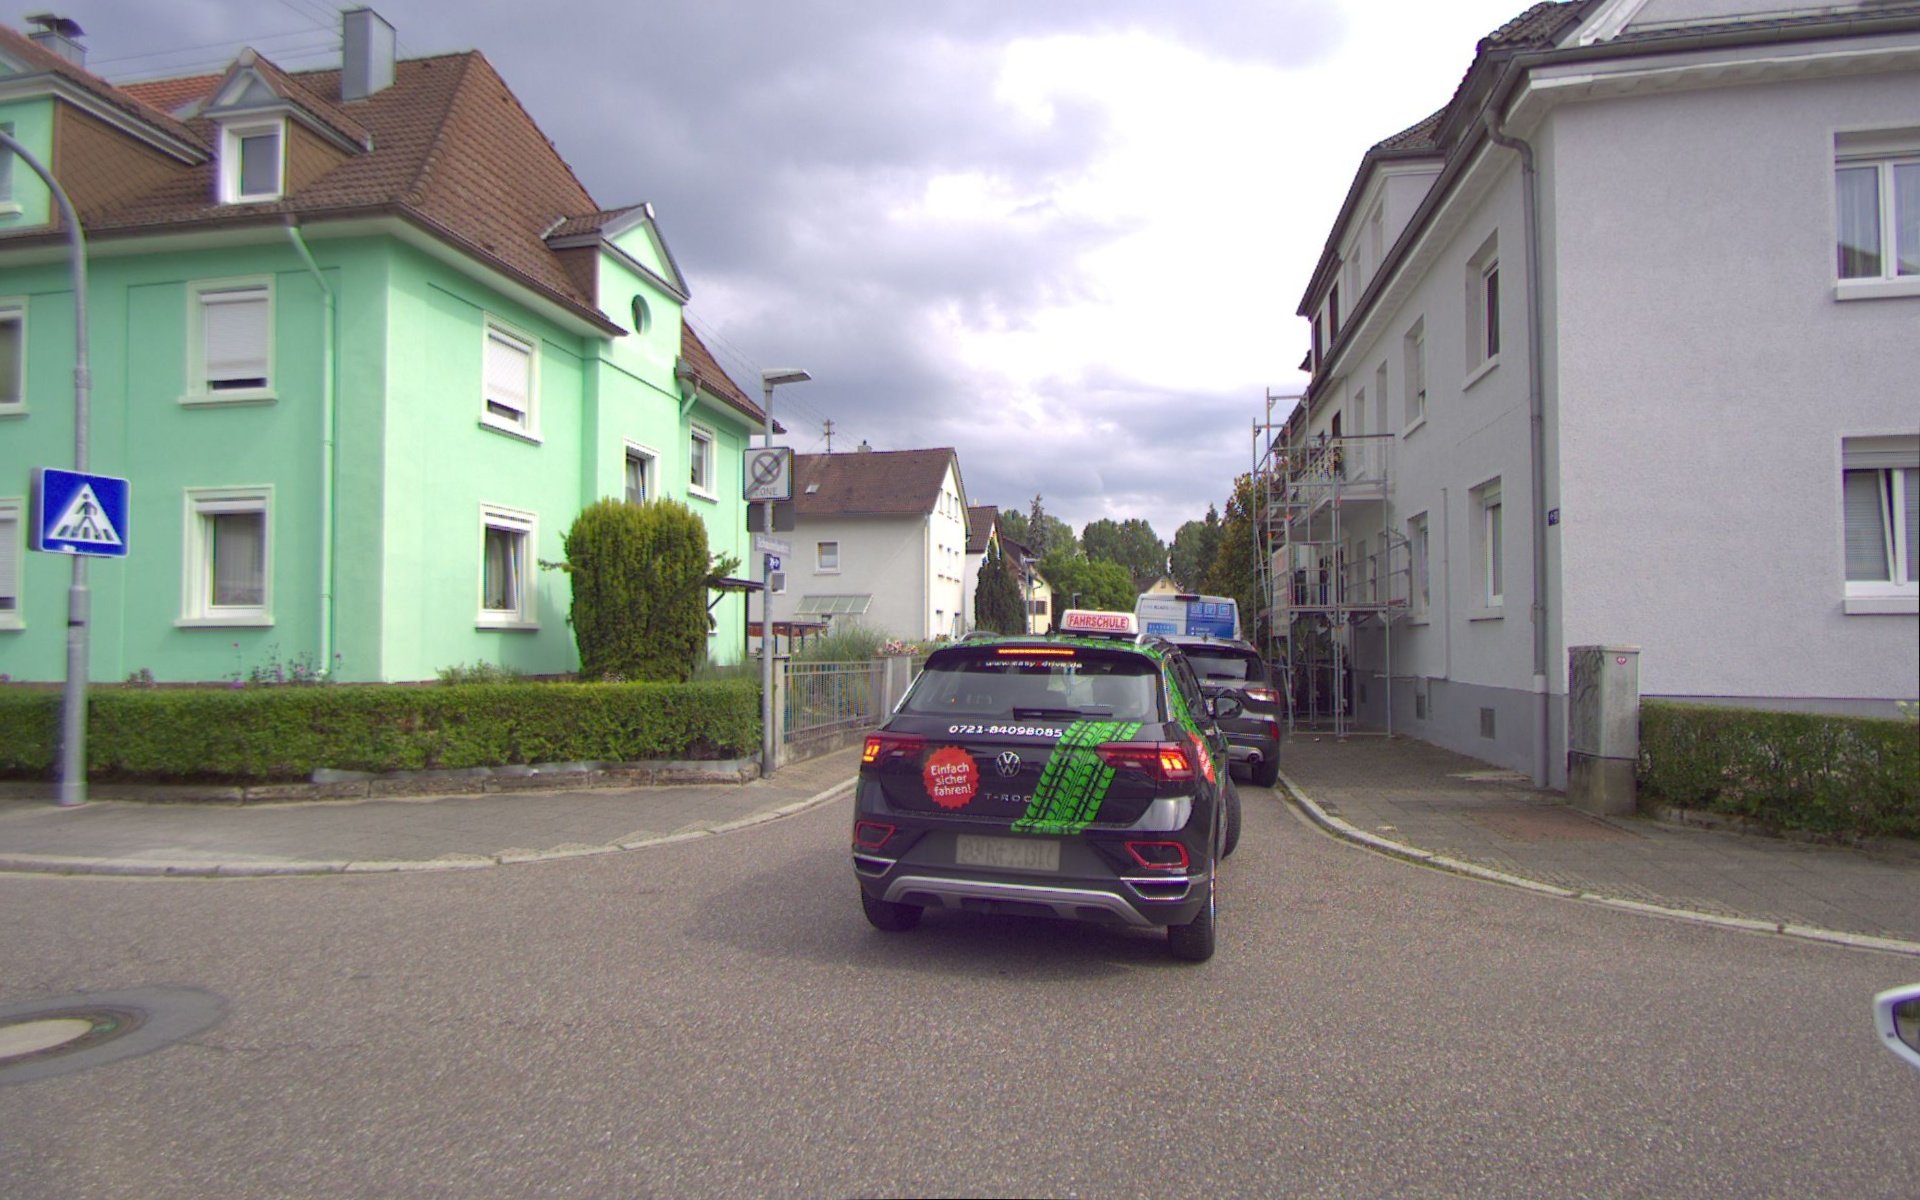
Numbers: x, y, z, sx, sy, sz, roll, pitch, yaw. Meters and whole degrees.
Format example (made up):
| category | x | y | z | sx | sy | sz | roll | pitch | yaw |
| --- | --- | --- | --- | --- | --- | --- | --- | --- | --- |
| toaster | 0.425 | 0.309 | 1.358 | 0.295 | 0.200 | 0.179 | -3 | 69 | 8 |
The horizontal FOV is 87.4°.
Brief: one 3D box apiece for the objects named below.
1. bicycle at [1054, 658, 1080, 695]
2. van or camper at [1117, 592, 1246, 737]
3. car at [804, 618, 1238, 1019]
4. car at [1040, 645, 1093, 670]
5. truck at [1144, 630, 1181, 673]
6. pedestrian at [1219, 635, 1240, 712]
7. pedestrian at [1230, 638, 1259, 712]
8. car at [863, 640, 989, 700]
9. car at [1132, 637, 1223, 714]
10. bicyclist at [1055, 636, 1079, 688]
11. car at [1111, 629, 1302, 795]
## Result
| category | x | y | z | sx | sy | sz | roll | pitch | yaw |
| --- | --- | --- | --- | --- | --- | --- | --- | --- | --- |
| bicycle | 3.579 | 2.521 | 33.462 | 0.693 | 1.167 | 1.875 | -1 | -3 | 11 |
| van or camper | 4.291 | 1.222 | 19.969 | 2.154 | 2.491 | 5.058 | -1 | -2 | 10 |
| car | 0.744 | 0.968 | 6.100 | 1.785 | 1.539 | 4.046 | 0 | -3 | 16 |
| car | 7.982 | 4.335 | 75.289 | 3.919 | 1.794 | 1.872 | 0 | -4 | 6 |
| truck | 13.209 | 3.344 | 65.720 | 2.093 | 2.692 | 4.588 | -1 | -2 | 9 |
| pedestrian | 6.350 | 1.726 | 23.683 | 0.400 | 1.785 | 0.513 | 0 | -3 | 8 |
| pedestrian | 6.487 | 1.715 | 22.912 | 0.591 | 1.650 | 0.626 | -1 | -4 | 14 |
| car | -0.970 | 2.057 | 29.650 | 3.510 | 1.689 | 1.589 | -1 | -3 | 7 |
| car | 5.469 | 1.853 | 25.743 | 1.959 | 1.795 | 4.345 | -1 | -2 | 8 |
| bicyclist | 3.573 | 2.070 | 33.502 | 0.684 | 1.688 | 0.976 | -2 | -3 | 11 |
| car | 2.944 | 1.276 | 12.886 | 1.959 | 1.749 | 4.345 | -1 | -2 | 8 |
